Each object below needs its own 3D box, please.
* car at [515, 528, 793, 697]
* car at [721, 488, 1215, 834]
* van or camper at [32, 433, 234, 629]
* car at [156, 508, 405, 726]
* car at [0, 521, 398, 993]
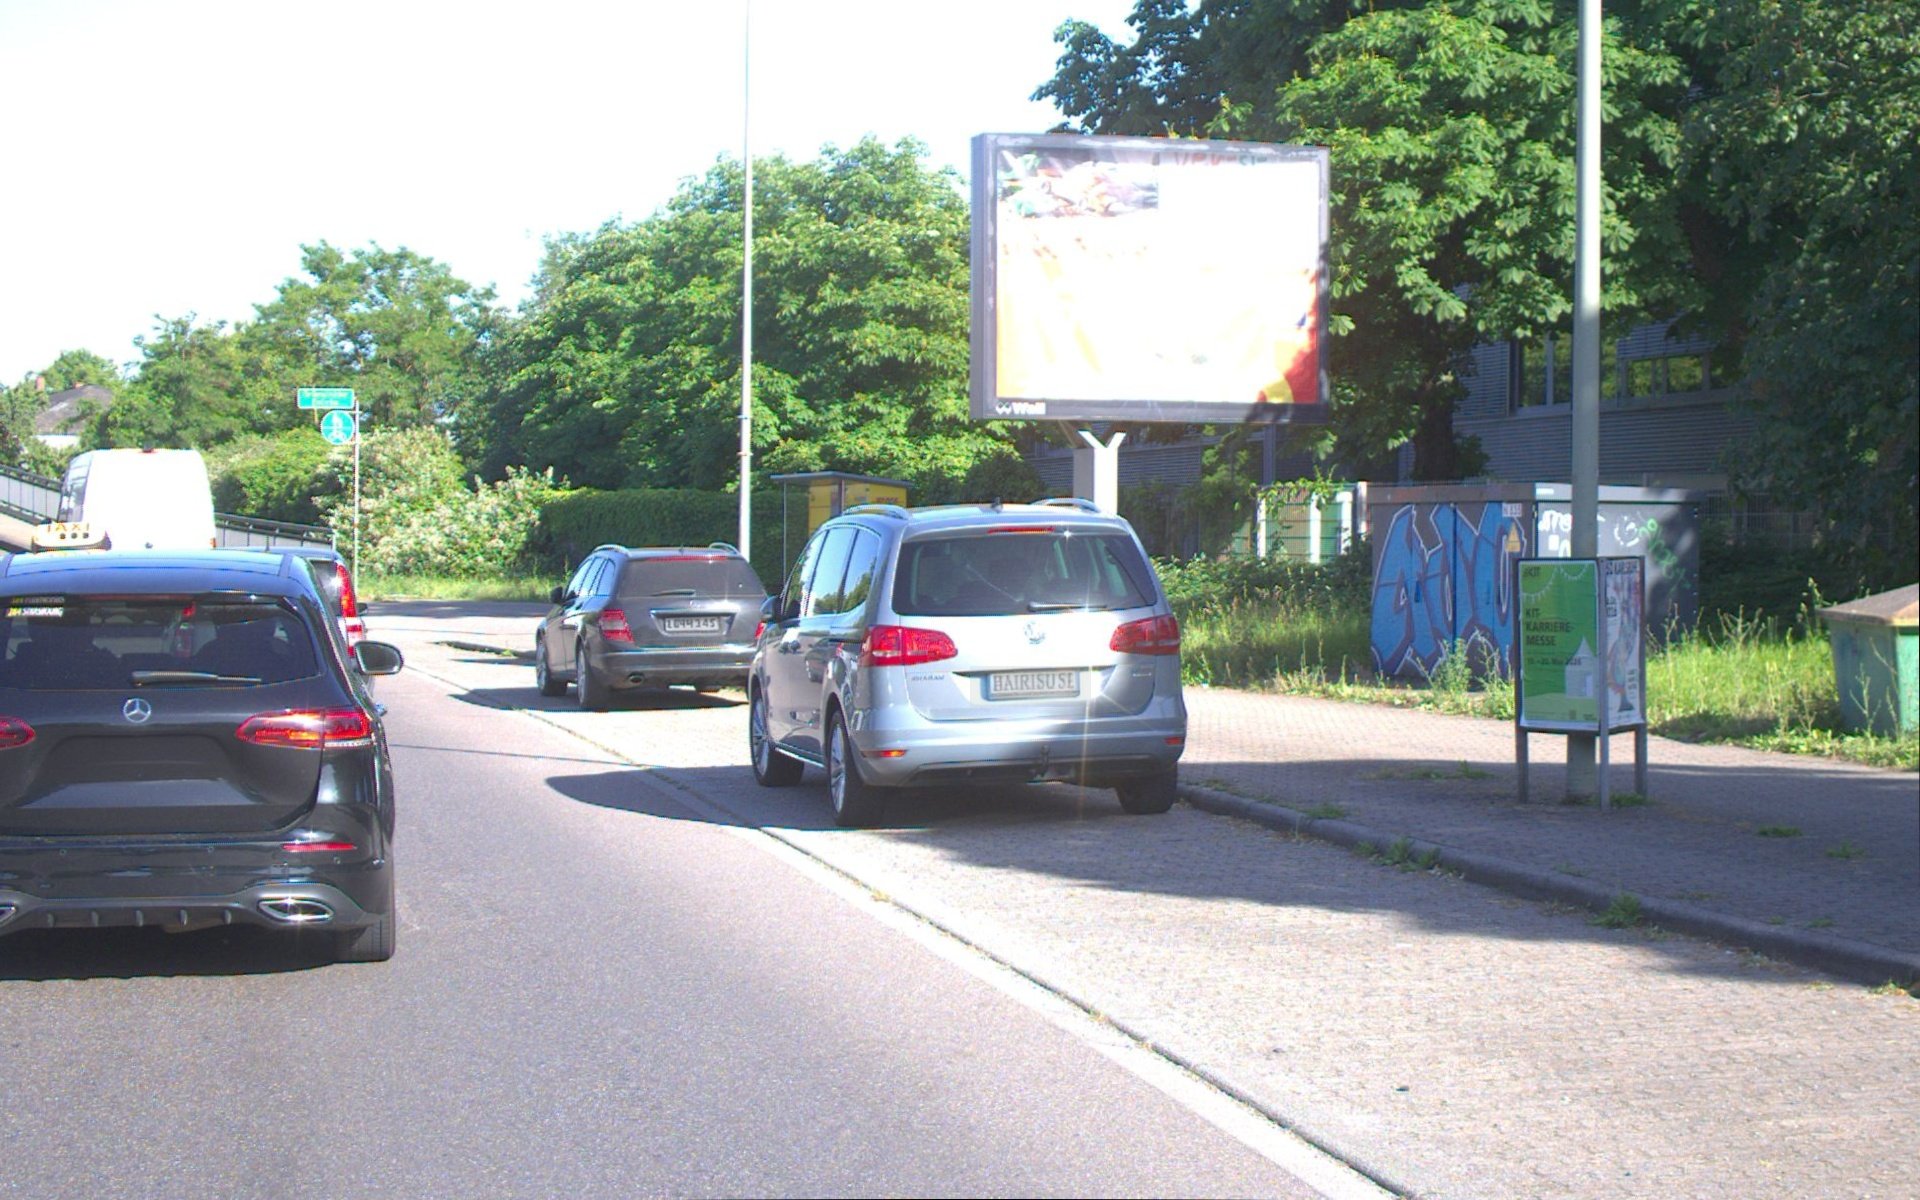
[{"bbox_3d":[-2.908,0.062,31.772,1.808,1.414,4.426,0,2,-15],"label":"car"},{"bbox_3d":[-0.099,0.263,19.896,1.872,1.716,4.614,-2,1,-12],"label":"car"},{"bbox_3d":[-12.536,-1.078,51.715,2.225,2.729,7.083,1,2,-19],"label":"van or camper"},{"bbox_3d":[-5.446,0.107,27.938,1.804,1.634,4.001,1,1,-9],"label":"car"},{"bbox_3d":[-3.139,0.499,13.600,1.769,1.587,3.990,1,1,-9],"label":"car"}]
